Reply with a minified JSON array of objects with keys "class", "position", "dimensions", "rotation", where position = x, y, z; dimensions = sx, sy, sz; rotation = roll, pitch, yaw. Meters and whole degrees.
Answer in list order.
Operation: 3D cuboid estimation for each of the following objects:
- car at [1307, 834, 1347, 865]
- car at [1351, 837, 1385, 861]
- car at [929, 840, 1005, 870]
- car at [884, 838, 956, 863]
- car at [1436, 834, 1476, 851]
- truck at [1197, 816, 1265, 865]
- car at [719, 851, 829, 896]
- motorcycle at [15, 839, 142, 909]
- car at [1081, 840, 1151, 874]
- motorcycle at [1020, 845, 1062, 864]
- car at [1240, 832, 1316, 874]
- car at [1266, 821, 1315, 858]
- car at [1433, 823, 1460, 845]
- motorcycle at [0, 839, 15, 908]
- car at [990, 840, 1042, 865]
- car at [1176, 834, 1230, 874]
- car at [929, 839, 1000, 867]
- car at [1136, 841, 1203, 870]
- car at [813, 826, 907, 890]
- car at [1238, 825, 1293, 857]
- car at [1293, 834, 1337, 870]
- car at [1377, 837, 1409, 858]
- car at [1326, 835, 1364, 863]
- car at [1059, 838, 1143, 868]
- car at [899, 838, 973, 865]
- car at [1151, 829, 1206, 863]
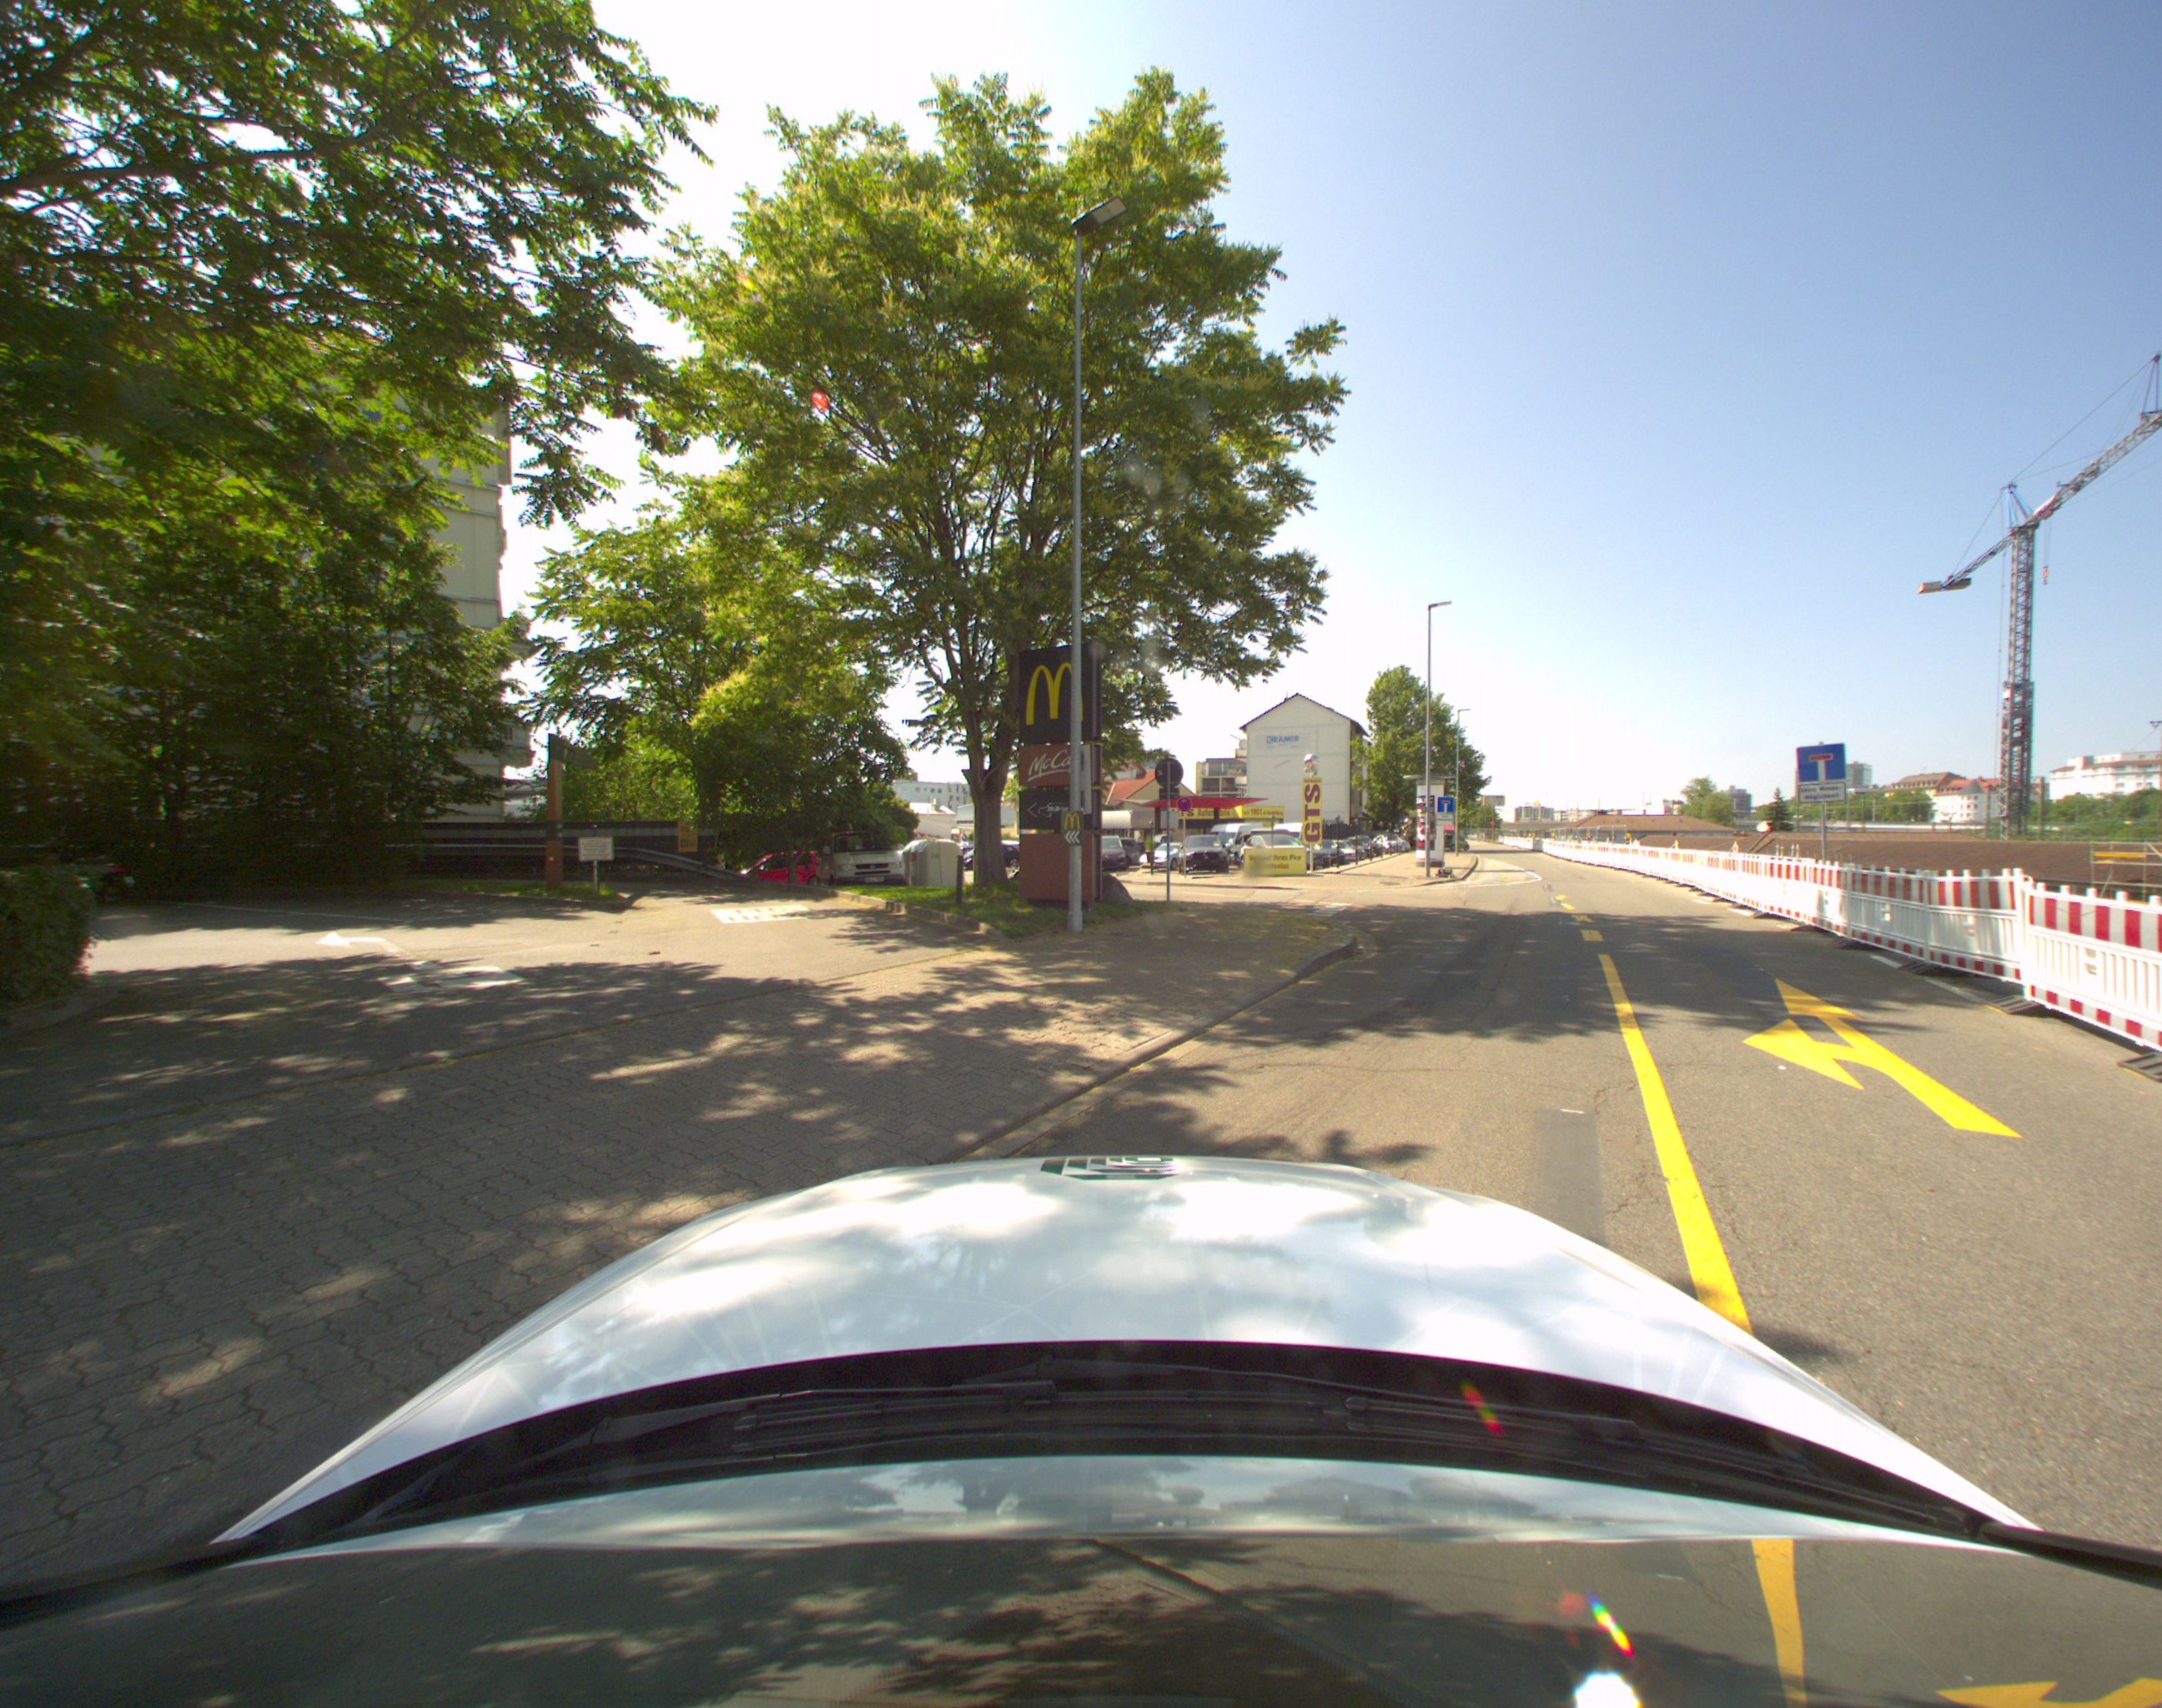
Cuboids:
[{"class":"car","position":[13.610,-0.289,45.151],"dimensions":[1.844,1.629,4.015],"rotation":[1,1,13]},{"class":"car","position":[20.320,-0.366,57.821],"dimensions":[1.844,1.629,4.015],"rotation":[1,1,13]},{"class":"car","position":[-6.767,0.062,48.456],"dimensions":[4.016,1.706,1.979],"rotation":[0,1,-34]},{"class":"car","position":[-11.390,-0.218,57.868],"dimensions":[4.678,1.725,1.977],"rotation":[1,0,-41]},{"class":"car","position":[37.649,-1.180,81.734],"dimensions":[3.274,1.637,1.718],"rotation":[1,1,-14]},{"class":"truck","position":[9.500,-0.859,51.062],"dimensions":[2.247,2.903,5.980],"rotation":[2,2,30]},{"class":"car","position":[-10.930,0.658,29.037],"dimensions":[3.427,1.378,1.472],"rotation":[-2,4,-32]},{"class":"motorcycle","position":[-17.340,0.332,14.102],"dimensions":[1.592,1.169,0.571],"rotation":[0,2,6]},{"class":"car","position":[1.707,0.109,38.467],"dimensions":[1.772,1.509,4.024],"rotation":[1,1,26]},{"class":"motorcycle","position":[-2.587,0.031,52.884],"dimensions":[2.733,1.226,0.987],"rotation":[0,1,-42]},{"class":"car","position":[8.586,-0.088,35.844],"dimensions":[1.991,1.725,3.991],"rotation":[1,1,-7]},{"class":"car","position":[13.634,-0.979,52.841],"dimensions":[2.116,2.284,4.739],"rotation":[1,1,26]},{"class":"car","position":[42.661,-2.284,94.935],"dimensions":[2.514,2.519,5.149],"rotation":[1,1,27]},{"class":"motorcycle","position":[-18.676,0.312,13.607],"dimensions":[1.588,1.140,0.477],"rotation":[1,2,16]},{"class":"car","position":[-4.524,-0.129,56.255],"dimensions":[2.007,1.585,3.961],"rotation":[1,1,-32]},{"class":"car","position":[5.283,-0.038,35.710],"dimensions":[2.037,1.594,4.430],"rotation":[1,1,5]},{"class":"car","position":[-7.355,-0.047,51.738],"dimensions":[4.021,1.725,1.976],"rotation":[1,0,-41]},{"class":"car","position":[4.768,0.061,43.547],"dimensions":[1.771,1.487,4.025],"rotation":[2,1,35]},{"class":"car","position":[-6.364,0.034,23.087],"dimensions":[1.960,1.583,4.995],"rotation":[1,2,-22]},{"class":"car","position":[10.809,-0.779,47.457],"dimensions":[1.860,1.737,4.751],"rotation":[2,2,28]},{"class":"car","position":[11.423,-0.135,39.886],"dimensions":[1.844,1.629,4.015],"rotation":[1,1,13]},{"class":"car","position":[24.731,-0.568,64.672],"dimensions":[1.844,1.629,4.015],"rotation":[1,1,13]},{"class":"car","position":[16.205,-0.320,50.155],"dimensions":[1.844,1.629,4.015],"rotation":[1,1,13]},{"class":"car","position":[1.083,-0.047,45.248],"dimensions":[4.321,1.585,1.993],"rotation":[1,1,-11]},{"class":"car","position":[-9.928,-0.161,55.965],"dimensions":[4.678,1.725,1.977],"rotation":[1,0,-41]},{"class":"car","position":[6.302,-0.507,52.056],"dimensions":[1.975,2.013,4.523],"rotation":[1,1,28]}]
